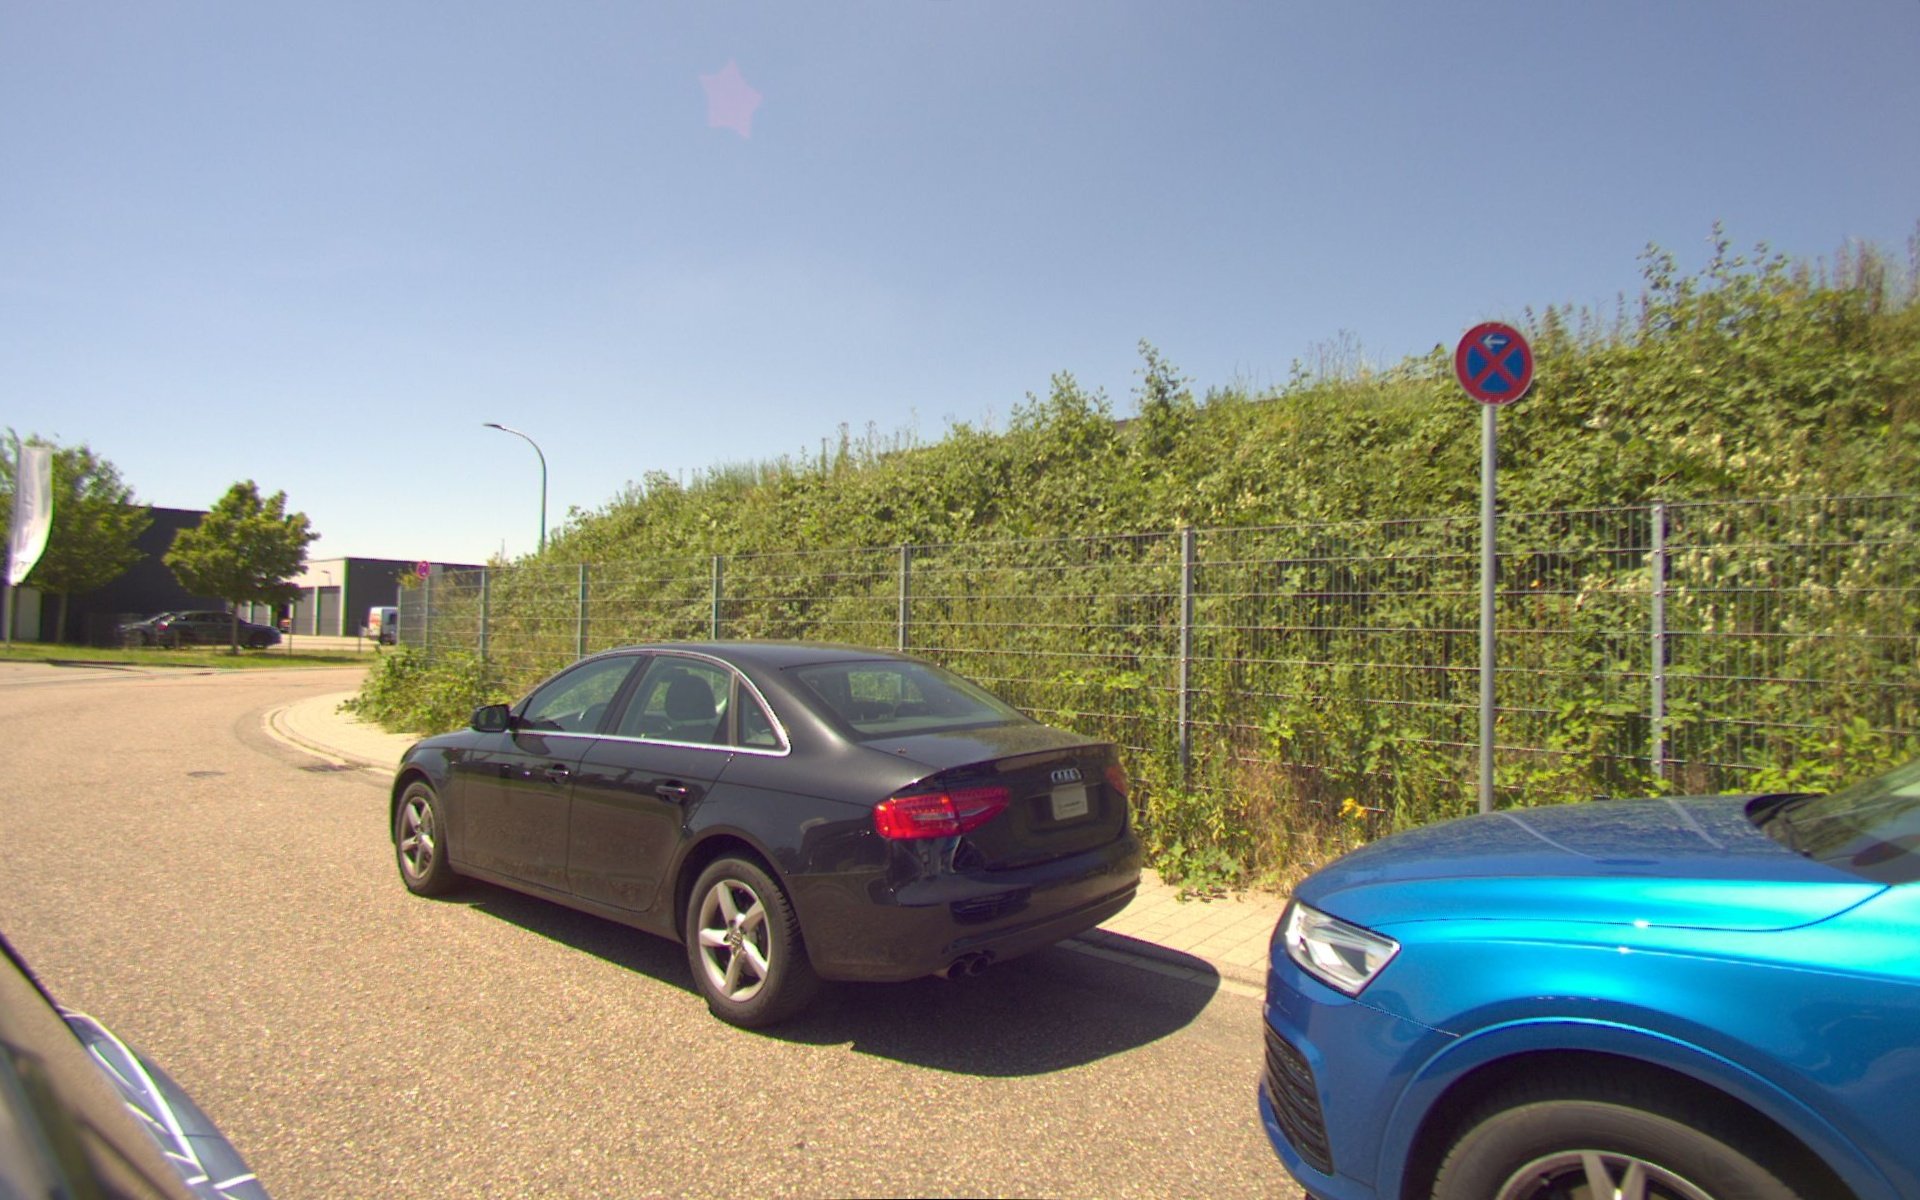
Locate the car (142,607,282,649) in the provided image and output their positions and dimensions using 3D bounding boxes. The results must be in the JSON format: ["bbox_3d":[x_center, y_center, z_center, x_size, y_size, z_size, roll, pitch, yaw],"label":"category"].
[{"bbox_3d":[-30.224,1.145,40.991,1.779,1.613,4.226,0,-2,39],"label":"car"}]

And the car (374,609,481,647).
[{"bbox_3d":[-35.064,1.860,66.806,2.142,2.242,5.757,-1,-4,38],"label":"car"}]

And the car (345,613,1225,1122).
[{"bbox_3d":[-1.195,0.837,5.106,4.576,1.466,1.806,-1,-3,39],"label":"car"}]

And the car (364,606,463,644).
[{"bbox_3d":[-37.202,1.661,69.028,2.194,2.476,5.605,-2,-1,39],"label":"car"}]

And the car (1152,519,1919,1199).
[{"bbox_3d":[2.690,0.709,1.568,4.382,1.582,1.806,-1,-3,39],"label":"car"}]

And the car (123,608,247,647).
[{"bbox_3d":[-35.233,1.273,46.065,1.778,1.579,4.117,-1,-4,39],"label":"car"}]
